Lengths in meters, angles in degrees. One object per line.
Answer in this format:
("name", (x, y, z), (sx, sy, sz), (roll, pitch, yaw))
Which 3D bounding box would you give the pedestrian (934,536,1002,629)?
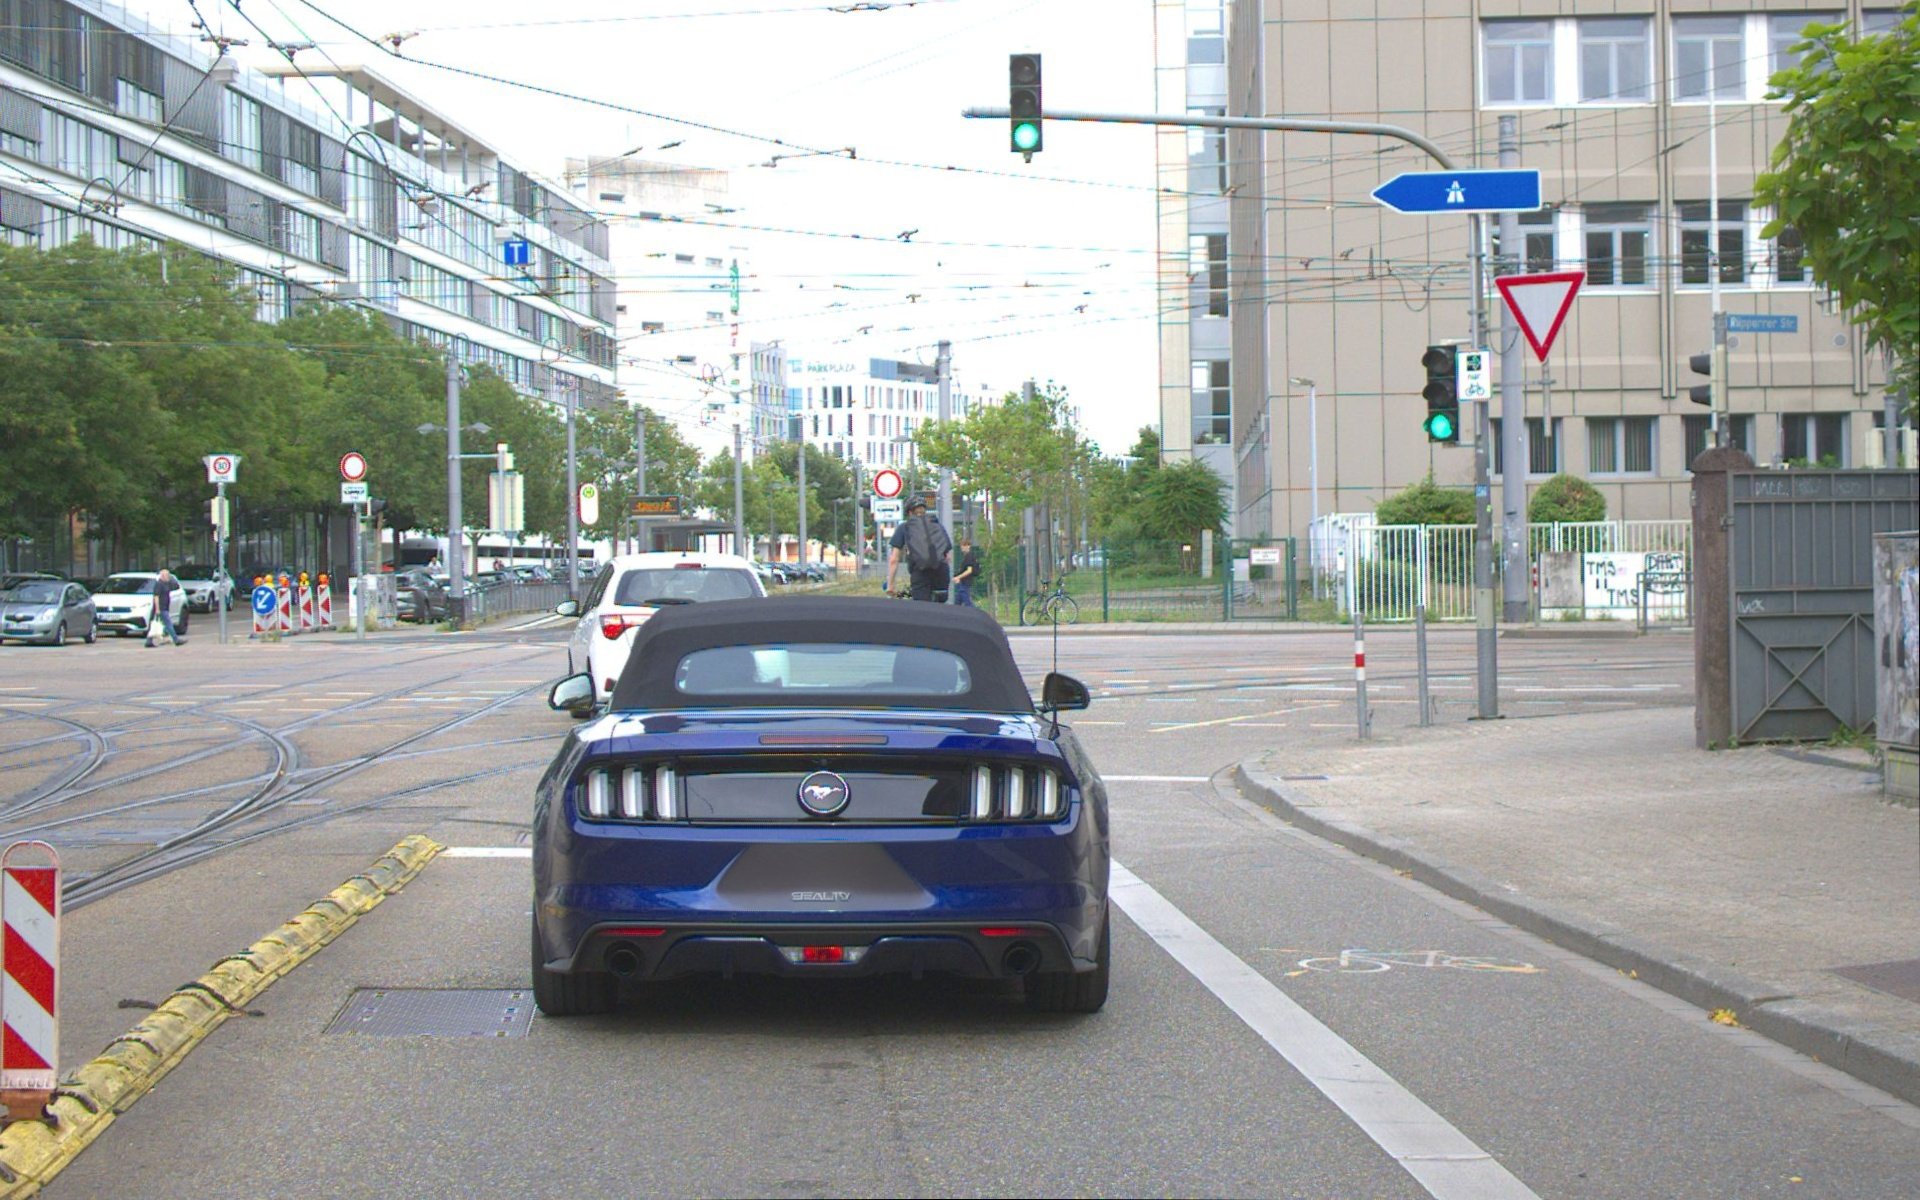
("pedestrian", (0.163, -0.368, 71.366), (1.087, 1.891, 0.900), (-1, 1, 26))

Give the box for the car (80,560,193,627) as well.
("car", (-21.292, -0.187, 89.006), (1.715, 1.654, 4.133), (1, 1, 3))

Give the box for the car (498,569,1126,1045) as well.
("car", (-0.480, 0.605, 12.507), (1.876, 1.399, 4.282), (1, 1, -1))

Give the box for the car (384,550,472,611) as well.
("car", (-14.799, -0.551, 95.841), (1.879, 1.623, 4.087), (-1, 1, -1))

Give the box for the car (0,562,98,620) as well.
("car", (-25.769, -0.271, 96.617), (1.830, 1.551, 4.216), (1, 1, 3))

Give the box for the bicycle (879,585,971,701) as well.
("bicycle", (-0.361, 0.411, 34.128), (0.800, 1.083, 2.132), (-1, 1, -3))

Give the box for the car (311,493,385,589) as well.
("car", (-23.815, -2.300, 133.849), (1.986, 3.624, 4.512), (1, 1, 0))

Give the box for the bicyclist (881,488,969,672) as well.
("bicyclist", (-0.358, -0.205, 34.138), (0.796, 1.779, 1.233), (-1, 1, -3))

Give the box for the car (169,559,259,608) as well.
("car", (-24.899, -0.561, 114.831), (1.986, 1.551, 4.512), (1, 1, 0))

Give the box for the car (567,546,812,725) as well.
("car", (-2.454, 0.263, 30.316), (1.834, 1.434, 4.188), (-1, 1, -9))

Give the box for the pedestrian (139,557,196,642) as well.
("pedestrian", (-17.371, -0.020, 75.333), (0.989, 1.849, 0.902), (-1, 1, 1))

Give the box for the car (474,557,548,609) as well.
("car", (-14.263, -0.559, 109.384), (1.868, 1.600, 4.213), (-1, 1, -1))

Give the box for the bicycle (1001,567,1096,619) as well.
("bicycle", (1.834, -0.136, 71.525), (0.632, 0.977, 2.157), (-1, -2, -43))

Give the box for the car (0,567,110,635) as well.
("car", (-21.600, -0.001, 81.469), (1.668, 1.501, 4.234), (1, 1, 3))

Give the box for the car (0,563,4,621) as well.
("car", (-26.455, -0.207, 89.388), (1.830, 1.551, 4.216), (1, 1, 3))
